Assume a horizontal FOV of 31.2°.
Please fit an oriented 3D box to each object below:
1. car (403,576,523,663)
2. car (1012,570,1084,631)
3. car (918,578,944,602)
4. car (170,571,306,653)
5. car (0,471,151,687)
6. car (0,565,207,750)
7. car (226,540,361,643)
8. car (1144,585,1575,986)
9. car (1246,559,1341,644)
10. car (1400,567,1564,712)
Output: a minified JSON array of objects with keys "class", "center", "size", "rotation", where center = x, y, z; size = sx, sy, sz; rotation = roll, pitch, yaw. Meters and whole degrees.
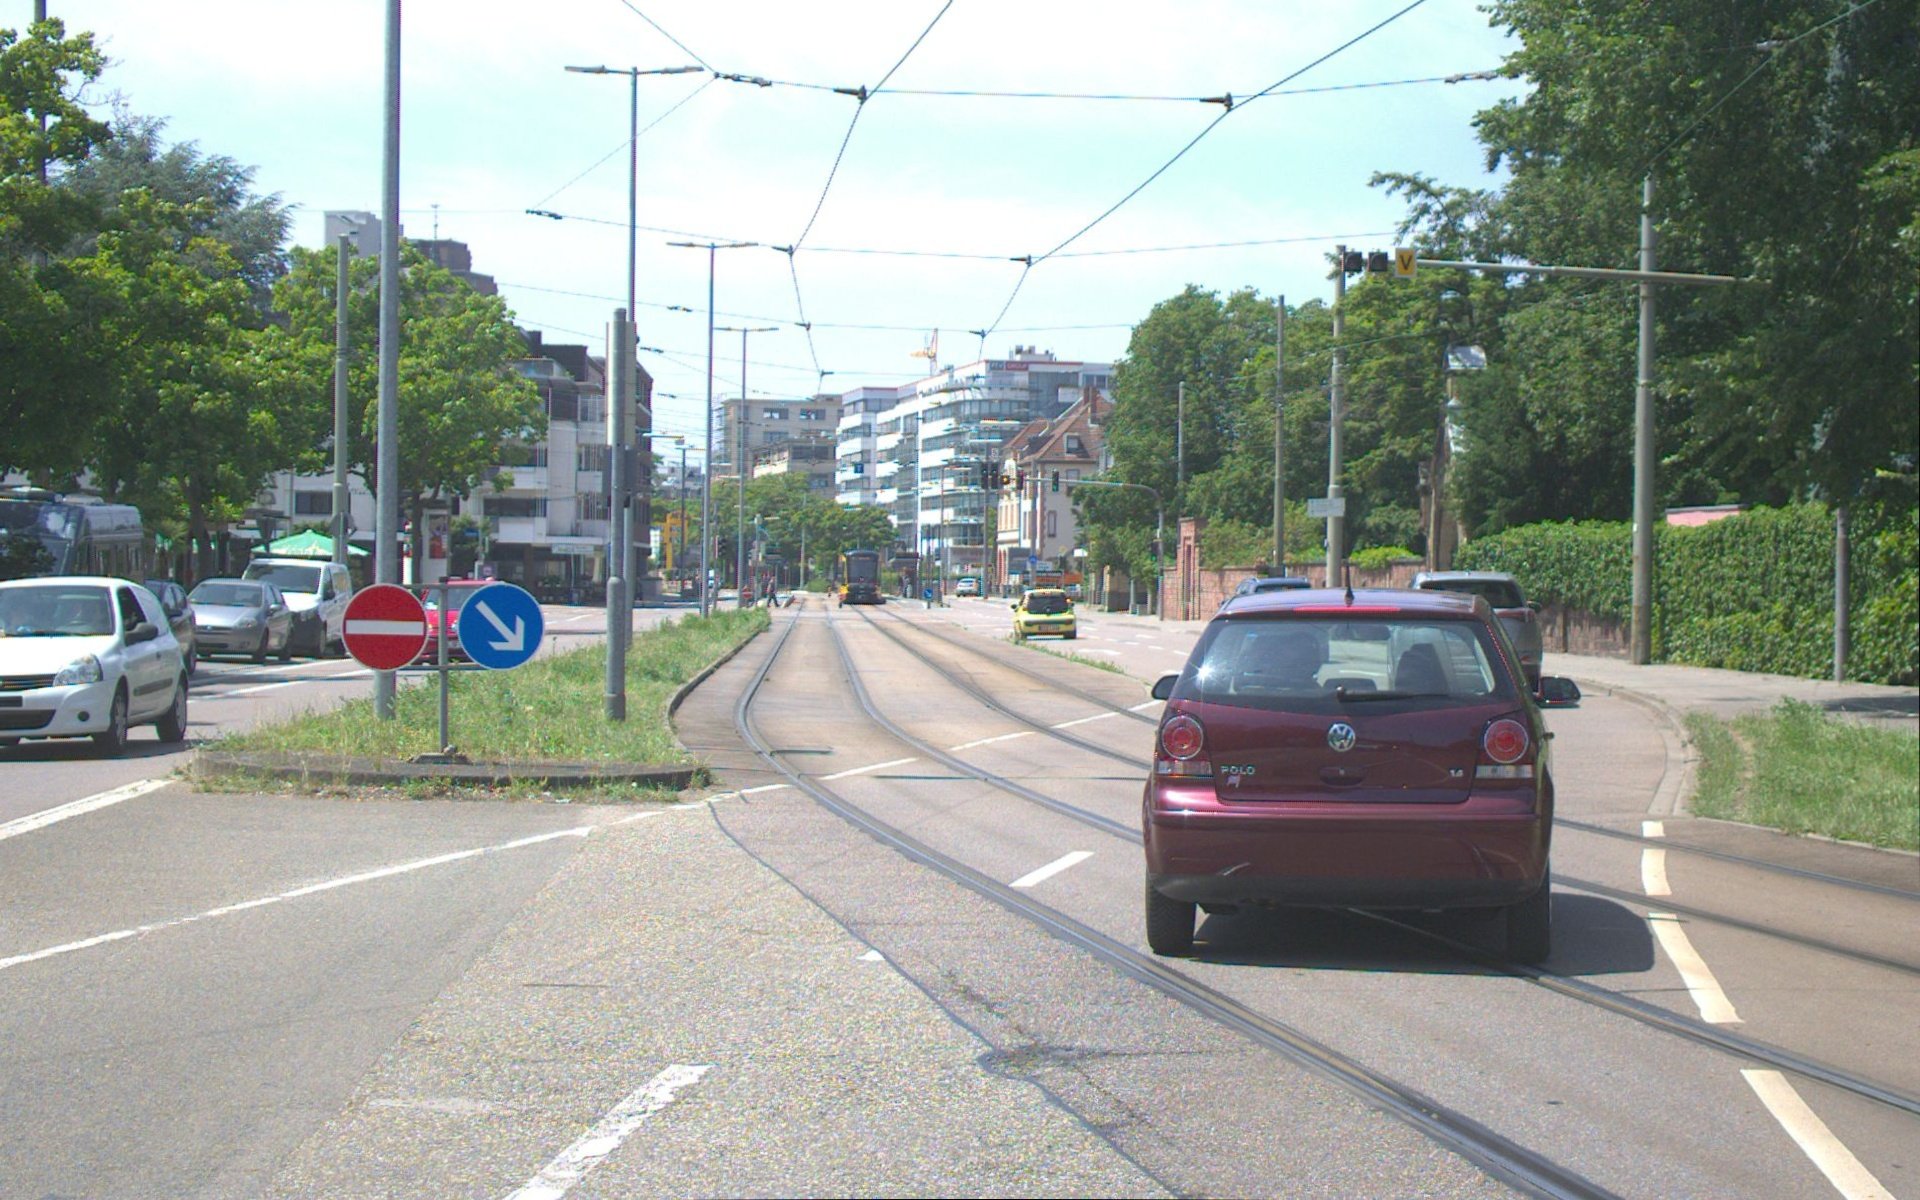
[{"class":"car","center":[-8.346,0.303,57.960],"size":[1.657,1.405,3.606],"rotation":[-1,0,-3]},{"class":"car","center":[2.536,-0.009,99.365],"size":[1.795,1.677,4.000],"rotation":[2,0,-2]},{"class":"car","center":[-1.624,-0.563,190.197],"size":[1.354,1.248,2.972],"rotation":[2,0,-2]},{"class":"car","center":[-13.012,0.189,62.148],"size":[1.631,1.415,3.867],"rotation":[0,1,0]},{"class":"car","center":[-12.699,-0.354,45.882],"size":[2.398,2.647,6.173],"rotation":[4,0,-2]},{"class":"car","center":[-7.261,0.443,27.733],"size":[1.648,1.372,3.811],"rotation":[-1,0,-2]},{"class":"car","center":[-13.311,-0.191,68.953],"size":[1.875,1.959,5.165],"rotation":[0,1,-2]},{"class":"car","center":[1.787,0.686,14.929],"size":[1.610,1.493,3.999],"rotation":[0,0,8]},{"class":"car","center":[6.811,0.012,70.510],"size":[1.774,1.625,3.999],"rotation":[2,0,4]},{"class":"car","center":[6.637,0.470,43.434],"size":[1.796,1.677,3.998],"rotation":[2,0,12]}]
